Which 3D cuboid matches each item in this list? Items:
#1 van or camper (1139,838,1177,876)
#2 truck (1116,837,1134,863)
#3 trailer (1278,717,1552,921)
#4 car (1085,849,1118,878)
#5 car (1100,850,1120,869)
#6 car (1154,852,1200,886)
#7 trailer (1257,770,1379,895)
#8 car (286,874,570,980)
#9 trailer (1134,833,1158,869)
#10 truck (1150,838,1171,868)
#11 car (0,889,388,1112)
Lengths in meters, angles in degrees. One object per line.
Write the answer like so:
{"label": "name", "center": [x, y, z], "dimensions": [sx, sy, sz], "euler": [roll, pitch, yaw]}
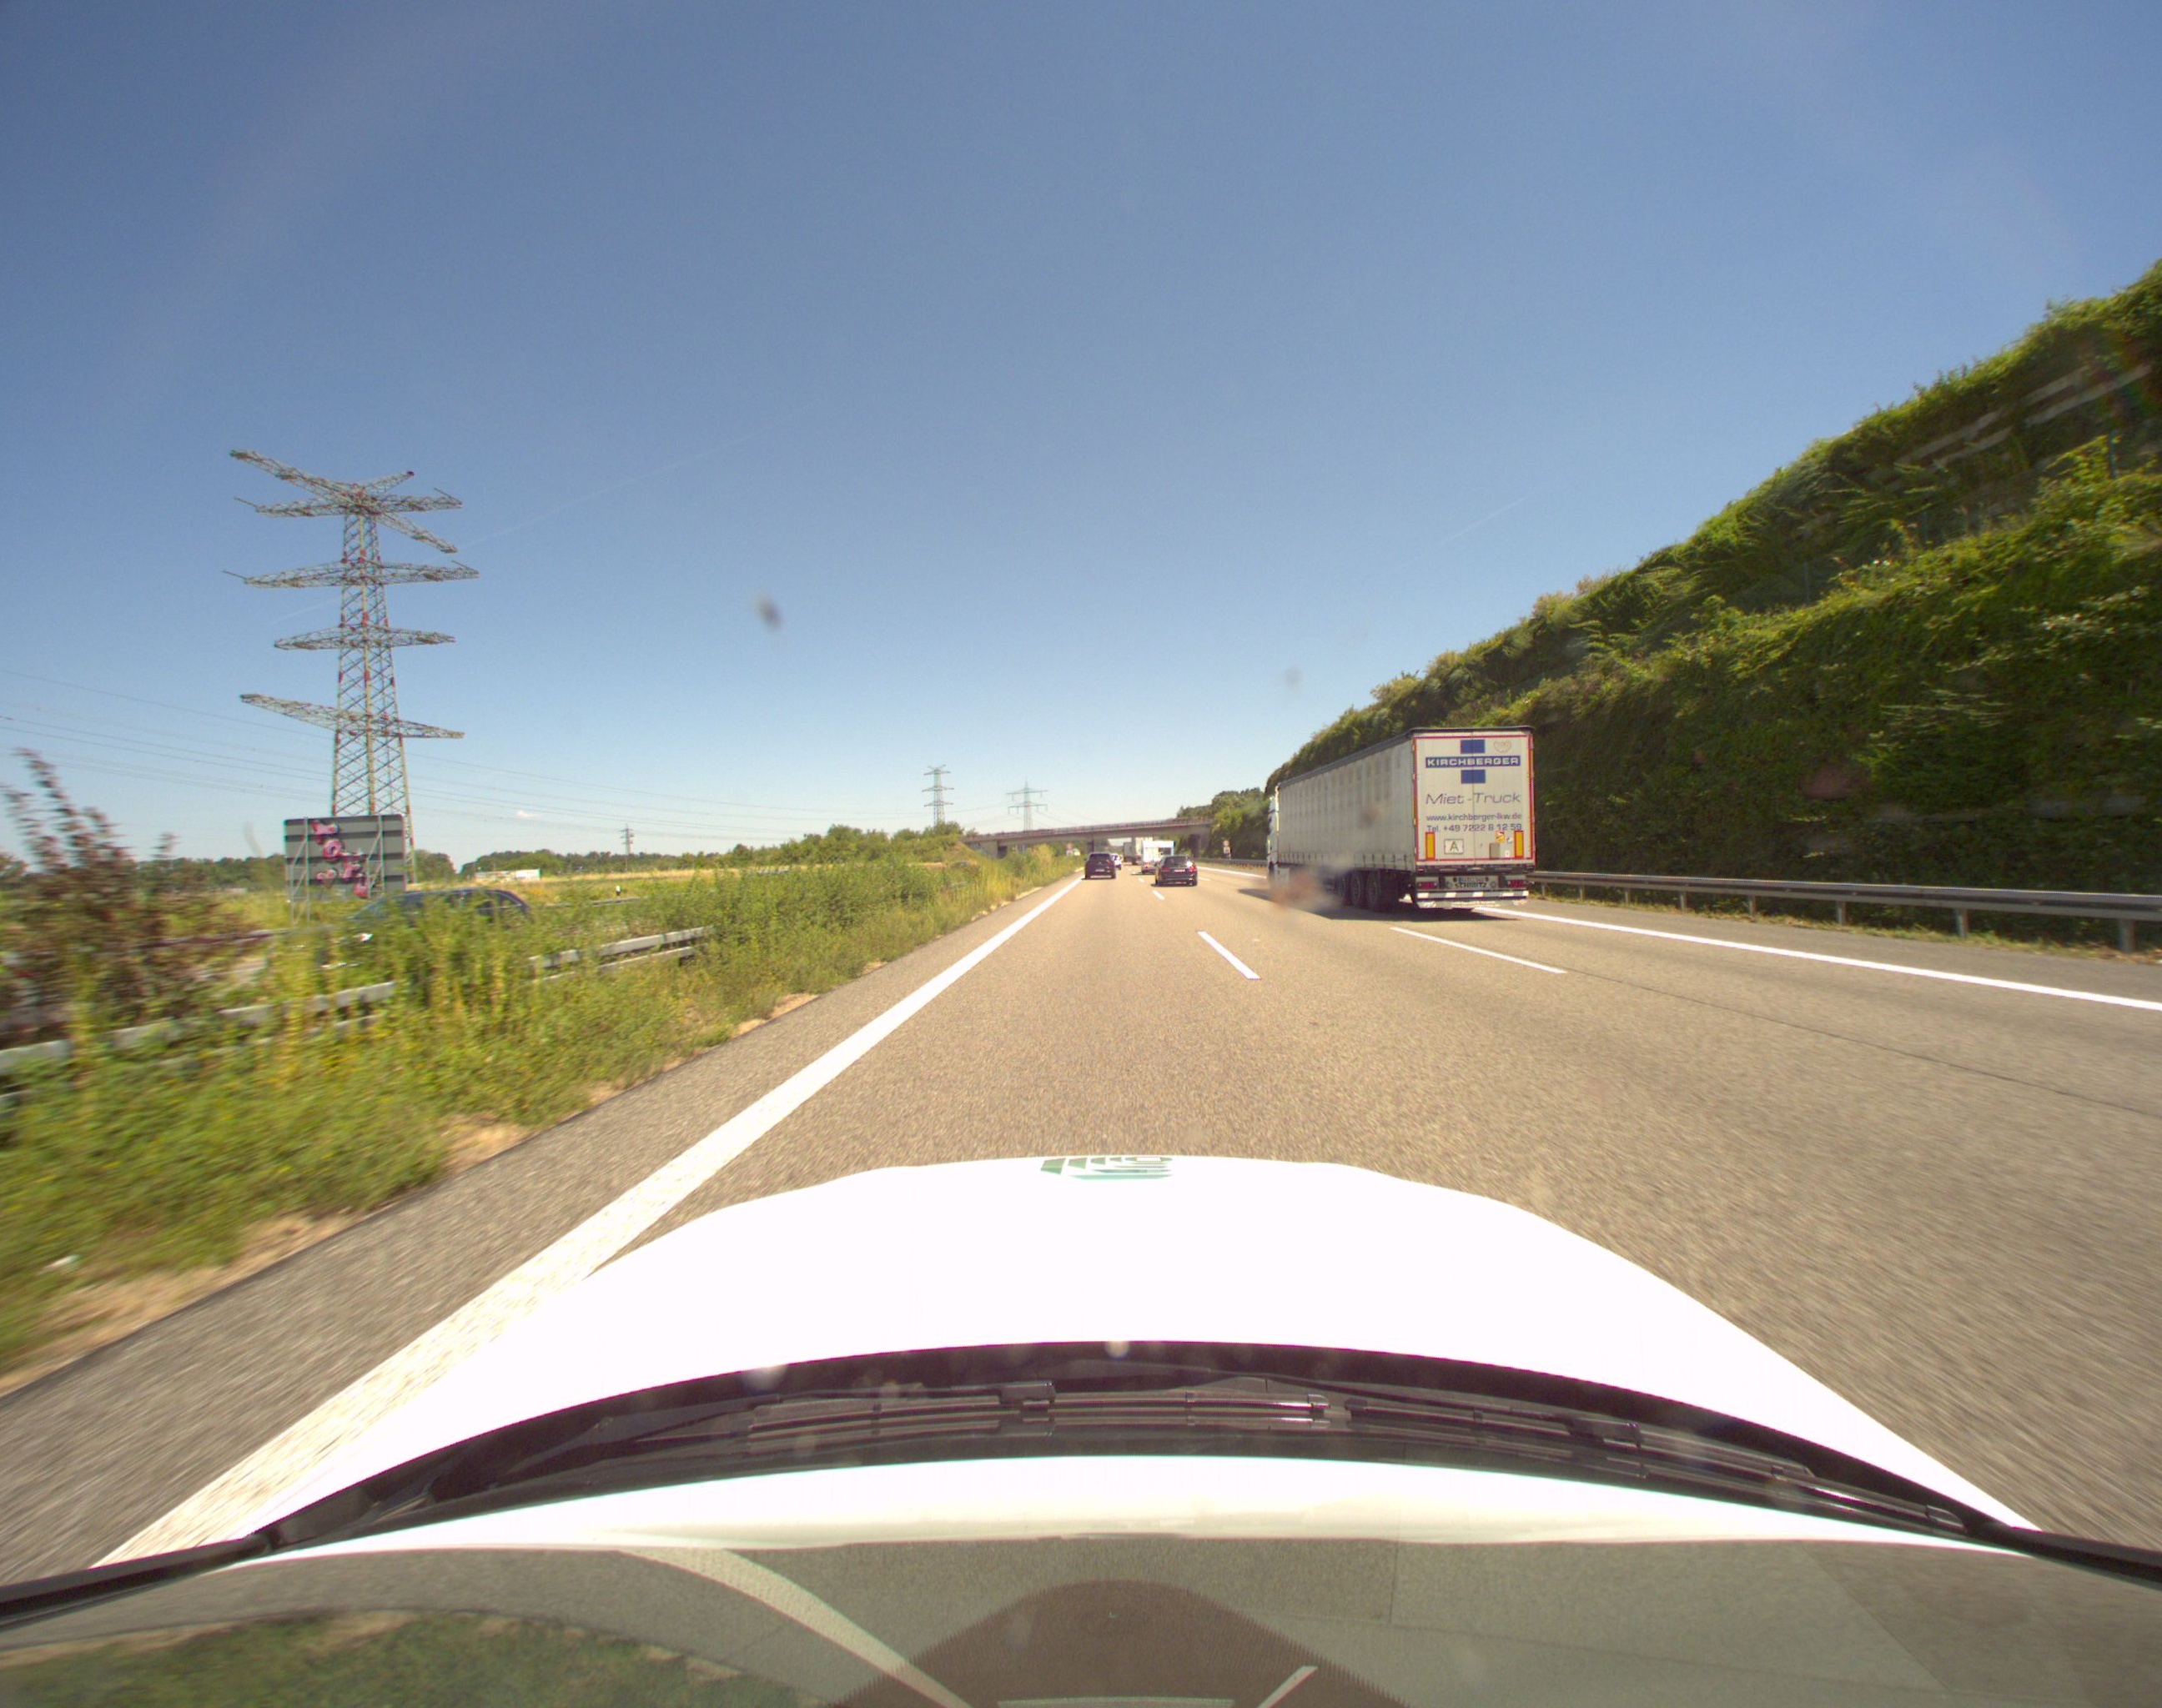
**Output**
{"label": "van or camper", "center": [5.835, 0.218, 62.259], "dimensions": [2.430, 2.675, 6.352], "euler": [-2, 0, 2]}
{"label": "truck", "center": [9.018, -0.748, 166.129], "dimensions": [3.497, 5.166, 10.266], "euler": [-1, 0, 3]}
{"label": "trailer", "center": [8.440, -0.706, 23.314], "dimensions": [2.718, 4.102, 13.194], "euler": [-2, 0, 2]}
{"label": "car", "center": [1.327, 0.591, 52.622], "dimensions": [1.986, 1.772, 4.002], "euler": [-2, 0, 2]}
{"label": "car", "center": [2.978, 0.587, 83.802], "dimensions": [1.954, 1.814, 4.451], "euler": [-2, 0, 2]}
{"label": "car", "center": [4.594, 0.674, 39.560], "dimensions": [1.834, 1.505, 4.740], "euler": [-1, 0, 2]}
{"label": "trailer", "center": [8.677, -0.715, 30.720], "dimensions": [2.703, 4.102, 6.792], "euler": [-2, 0, 2]}
{"label": "car", "center": [-12.652, 1.315, 16.276], "dimensions": [1.855, 1.654, 4.560], "euler": [-2, 0, 2]}
{"label": "trailer", "center": [9.248, -0.335, 116.615], "dimensions": [3.074, 4.885, 12.267], "euler": [0, -1, 3]}
{"label": "truck", "center": [13.542, -0.183, 139.311], "dimensions": [3.074, 4.885, 8.804], "euler": [0, -1, 3]}
{"label": "car", "center": [-9.671, 1.301, 7.893], "dimensions": [1.855, 1.654, 4.560], "euler": [-2, 0, 2]}
